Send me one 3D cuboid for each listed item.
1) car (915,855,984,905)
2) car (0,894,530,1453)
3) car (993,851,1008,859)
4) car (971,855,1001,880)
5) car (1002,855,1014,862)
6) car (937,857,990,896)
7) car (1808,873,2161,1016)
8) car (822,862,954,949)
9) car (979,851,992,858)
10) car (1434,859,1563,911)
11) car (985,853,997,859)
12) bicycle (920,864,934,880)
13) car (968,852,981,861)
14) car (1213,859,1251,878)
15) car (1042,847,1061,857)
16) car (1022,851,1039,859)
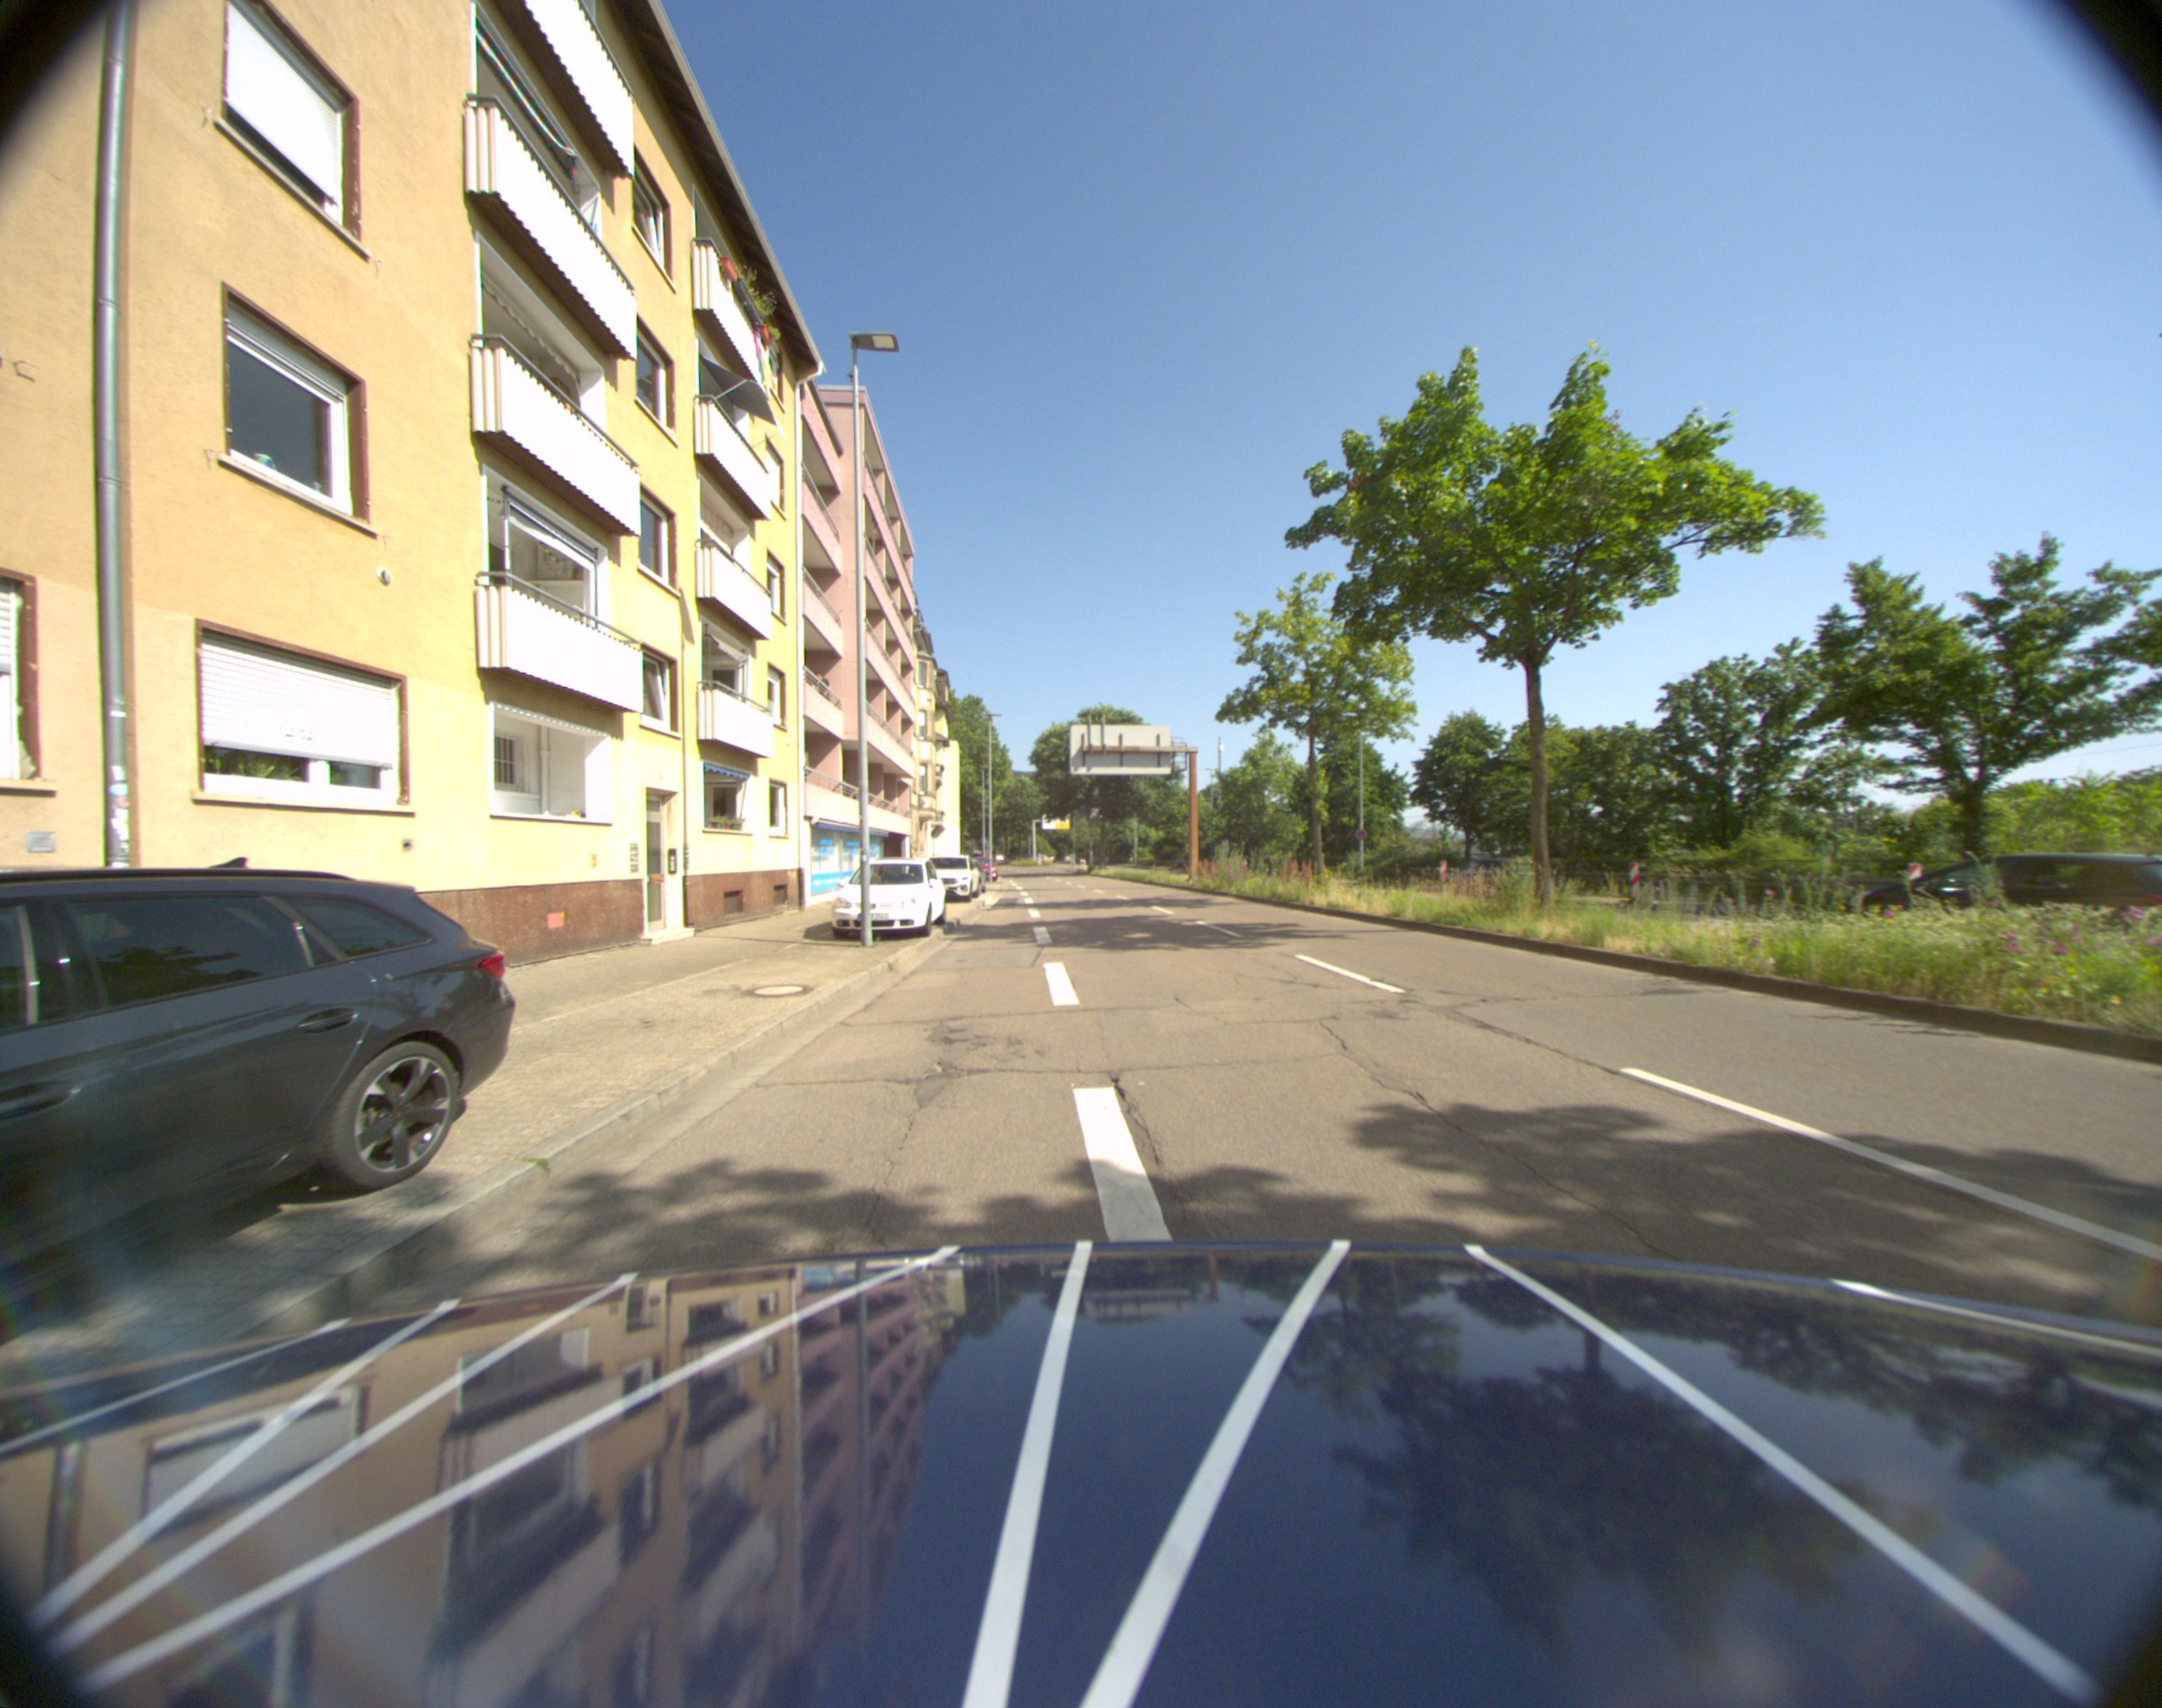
[{"bbox_3d":[-4.355,0.822,25.750,1.741,1.532,4.352,1,0,-3],"label":"car"},{"bbox_3d":[-3.883,0.936,1.935,1.805,1.429,4.588,0,0,-3],"label":"car"},{"bbox_3d":[-16.541,0.168,156.705,1.872,1.444,4.196,1,0,-23],"label":"car"},{"bbox_3d":[-5.996,0.803,48.270,1.790,1.473,3.997,1,0,-6],"label":"car"},{"bbox_3d":[-15.949,1.018,165.426,1.648,1.492,3.642,0,0,-22],"label":"car"},{"bbox_3d":[-4.647,0.859,30.474,1.683,1.400,3.430,2,0,-2],"label":"car"},{"bbox_3d":[12.514,1.027,10.056,1.768,1.465,4.083,0,0,-2],"label":"car"},{"bbox_3d":[-3.703,0.921,15.272,1.761,1.497,4.126,1,0,-3],"label":"car"},{"bbox_3d":[-20.689,0.102,164.720,1.805,1.511,3.956,1,0,-23],"label":"car"},{"bbox_3d":[13.628,0.963,25.109,1.803,1.521,3.998,0,0,-5],"label":"car"},{"bbox_3d":[-20.427,0.470,172.138,1.683,1.460,3.570,0,0,-23],"label":"car"},{"bbox_3d":[-9.567,1.131,47.316,0.652,0.964,1.863,1,0,-5],"label":"bicycle"},{"bbox_3d":[-24.226,0.523,172.894,2.002,1.880,3.992,0,0,-21],"label":"car"},{"bbox_3d":[11.176,1.050,56.523,1.650,1.408,3.968,0,0,-6],"label":"car"},{"bbox_3d":[-5.223,-0.364,135.172,2.002,1.519,4.689,2,0,-19],"label":"car"},{"bbox_3d":[-9.975,0.146,149.880,2.002,1.403,4.607,1,0,-21],"label":"car"}]
